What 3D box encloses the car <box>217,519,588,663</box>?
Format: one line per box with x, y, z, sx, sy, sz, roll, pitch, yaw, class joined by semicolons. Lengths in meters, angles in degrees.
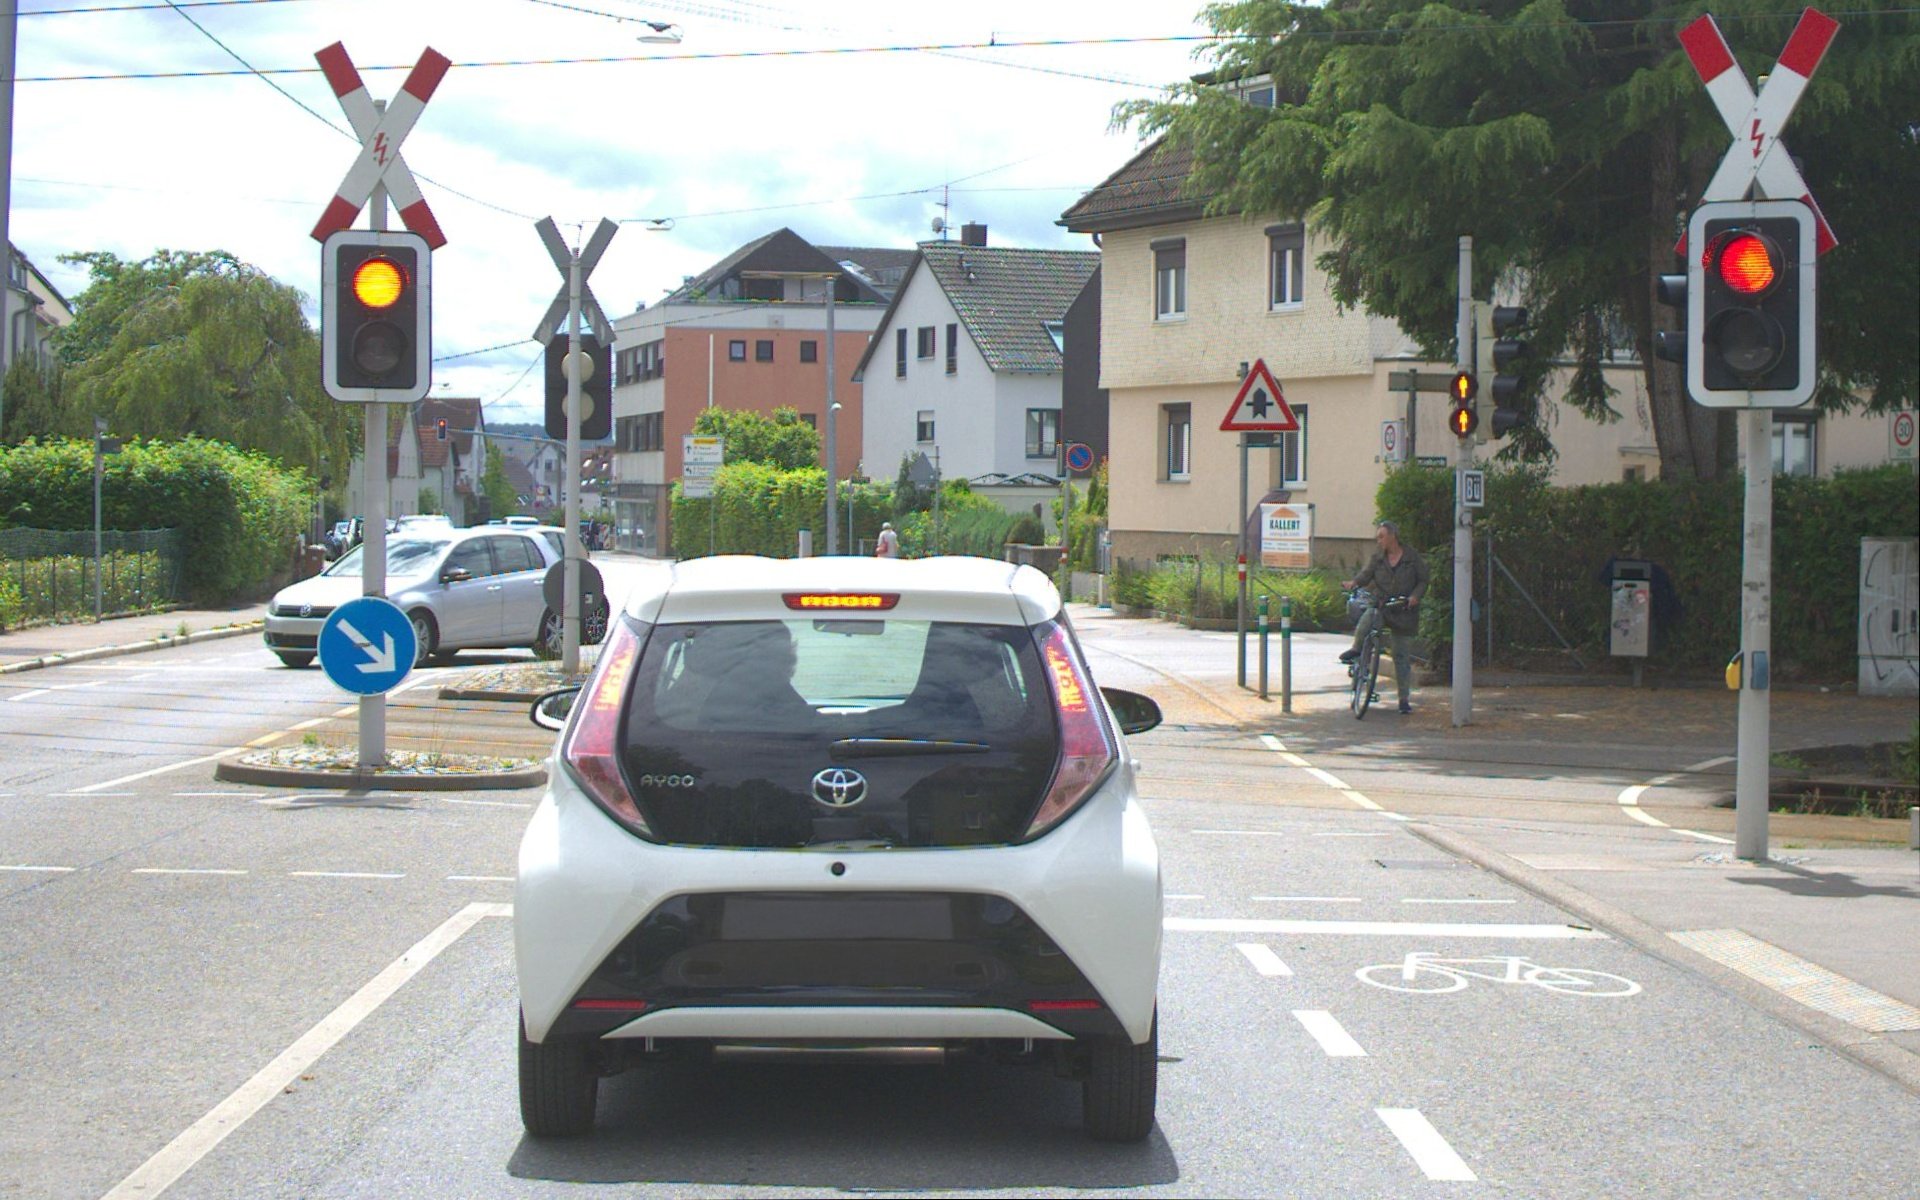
-6.049;-0.108;37.756;1.908;1.436;4.092;2;1;28;car

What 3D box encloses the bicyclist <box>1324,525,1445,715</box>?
3.628;0.158;29.410;0.840;1.548;0.756;-2;4;-6;bicyclist

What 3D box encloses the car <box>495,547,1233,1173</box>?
-0.355;0.598;10.048;1.721;1.437;3.709;2;1;-4;car

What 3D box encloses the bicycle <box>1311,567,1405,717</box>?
3.419;0.345;29.617;0.457;1.168;1.480;-2;4;-6;bicycle

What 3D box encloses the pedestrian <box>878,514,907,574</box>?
-1.787;-1.484;91.048;0.726;1.571;0.803;2;1;-1;pedestrian

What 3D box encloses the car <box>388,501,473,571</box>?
-13.641;-1.653;88.686;1.993;1.713;4.001;2;1;-7;car
